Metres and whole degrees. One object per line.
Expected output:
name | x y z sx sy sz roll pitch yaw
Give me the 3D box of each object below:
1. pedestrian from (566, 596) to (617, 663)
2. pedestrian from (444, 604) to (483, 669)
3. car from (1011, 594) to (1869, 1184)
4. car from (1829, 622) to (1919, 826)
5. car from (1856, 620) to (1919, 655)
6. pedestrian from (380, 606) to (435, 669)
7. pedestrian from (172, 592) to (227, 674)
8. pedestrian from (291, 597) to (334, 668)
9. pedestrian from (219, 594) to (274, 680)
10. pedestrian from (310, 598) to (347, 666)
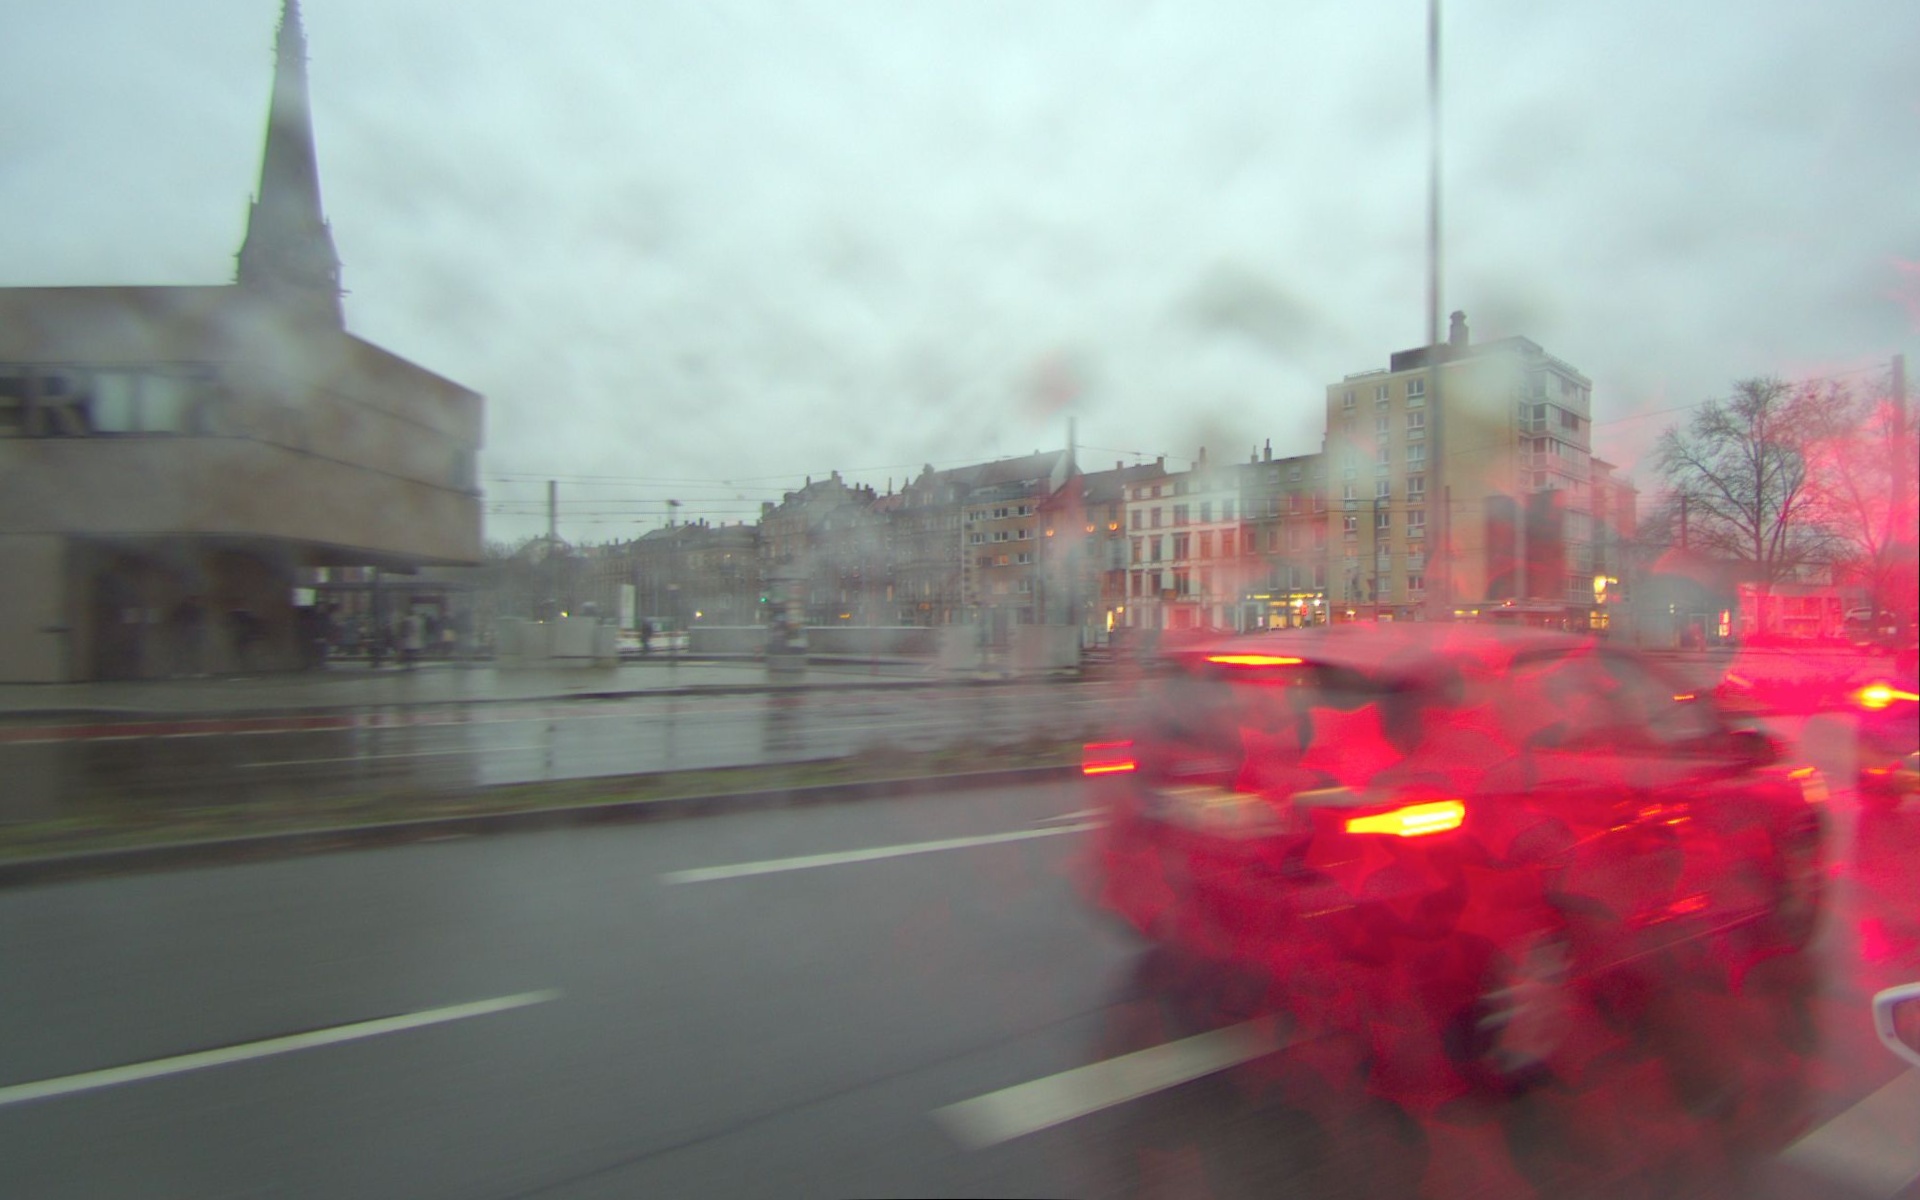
pedestrian | -10.817 0.871 29.512 1.041 1.944 1.124 0 -2 3
pedestrian | -13.806 1.022 27.937 0.790 1.774 0.758 -2 -2 44
car | 2.268 0.786 4.414 3.832 1.501 1.690 1 1 -35
car | 8.667 0.930 7.903 4.075 1.423 1.649 1 0 -32
car | 49.445 1.976 52.421 3.942 1.795 1.990 -2 -3 42
pedestrian | -14.619 0.994 26.590 0.946 1.624 0.856 0 -2 1
pedestrian | -16.513 0.713 21.830 0.733 1.749 0.739 0 -2 -21
pedestrian | -16.291 0.825 25.285 0.733 1.749 0.739 0 -2 -21
pedestrian | -15.241 0.791 21.461 0.653 1.791 0.828 -2 -2 44
pedestrian | -16.635 0.845 26.451 0.737 1.749 0.734 1 -2 -39
